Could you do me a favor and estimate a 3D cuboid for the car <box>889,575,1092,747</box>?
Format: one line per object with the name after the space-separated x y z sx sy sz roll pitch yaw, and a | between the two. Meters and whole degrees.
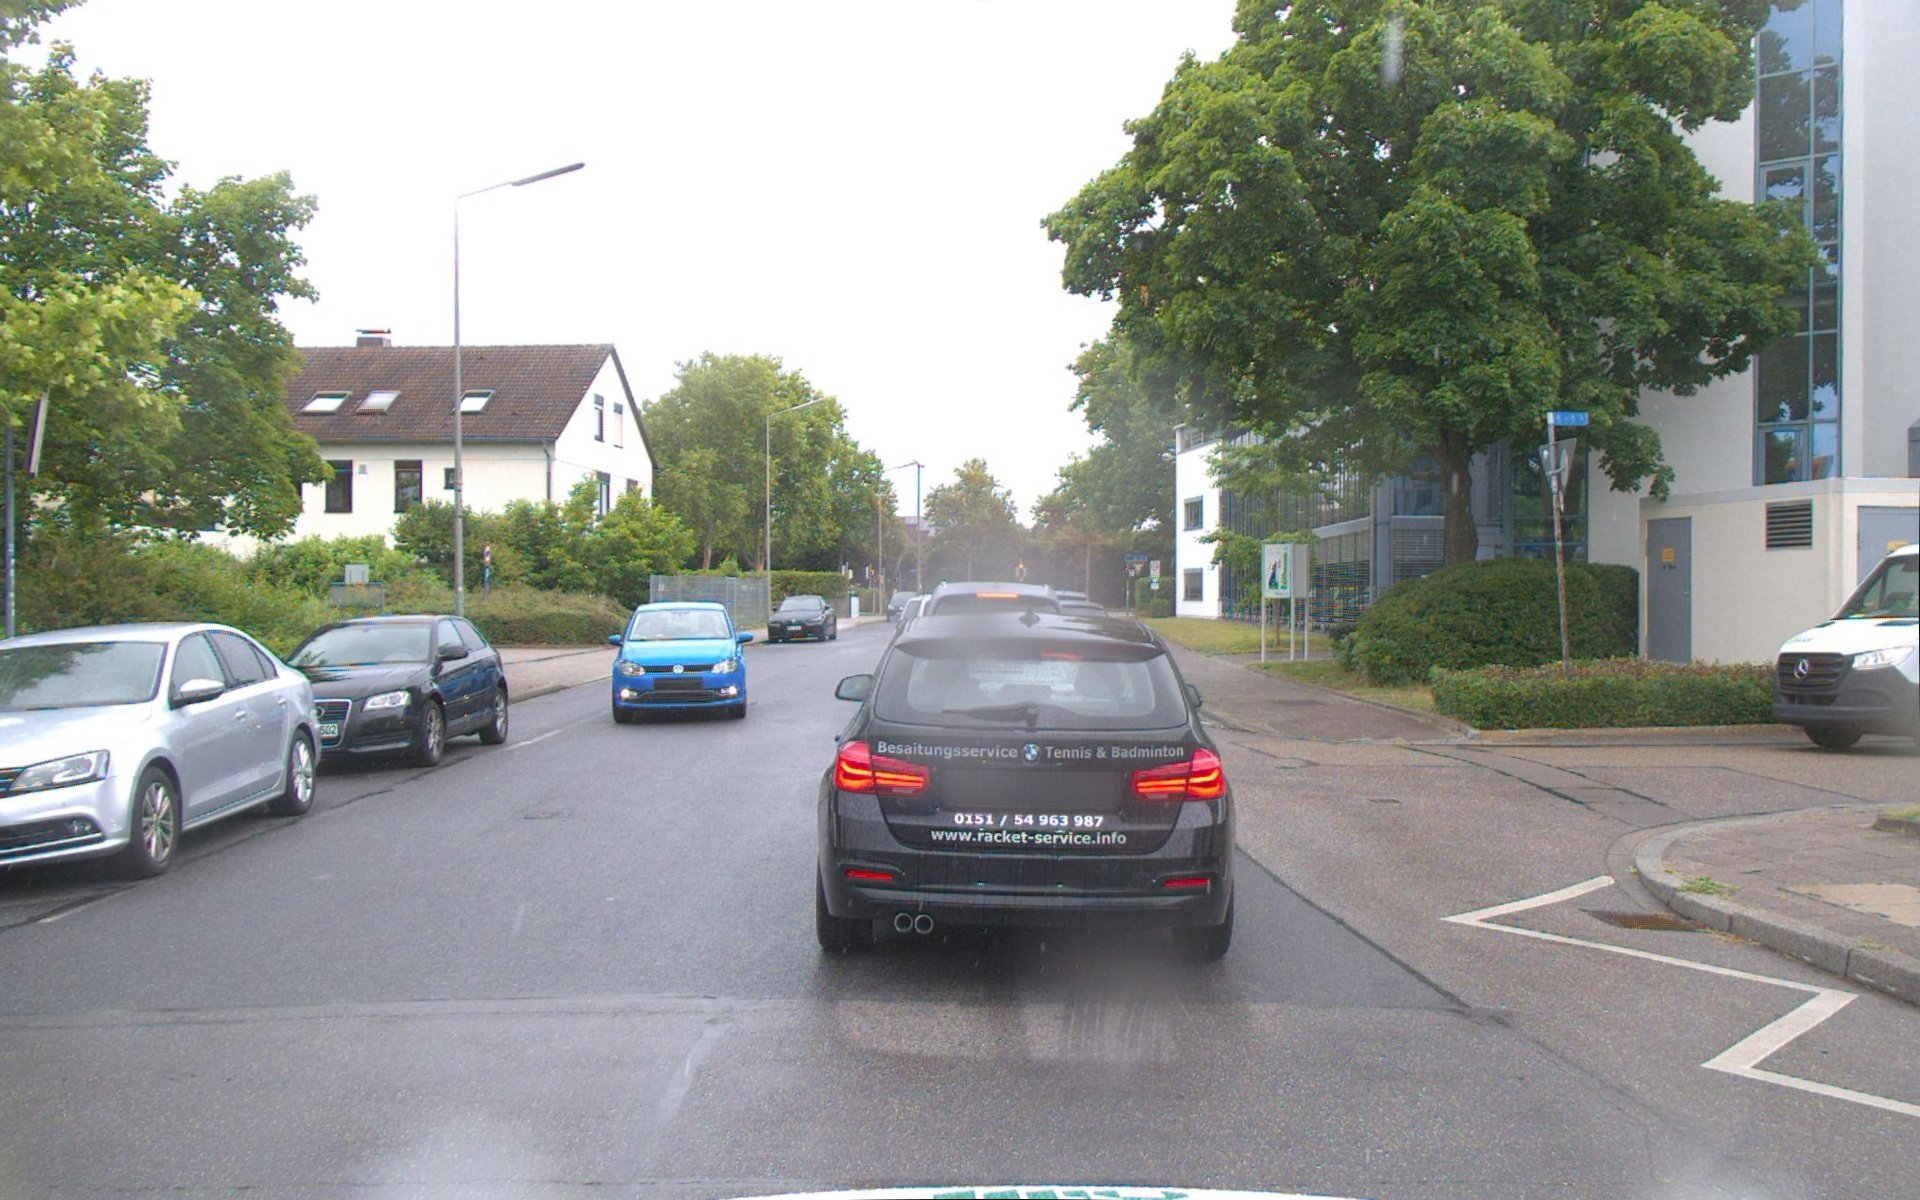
0.205 0.588 17.593 1.769 1.614 3.996 1 0 -5 | car

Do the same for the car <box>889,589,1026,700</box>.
-0.116 0.663 26.304 1.769 1.614 3.995 1 0 -6 | car

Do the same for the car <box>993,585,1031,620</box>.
2.459 0.118 78.708 1.767 1.614 4.001 0 0 1 | car

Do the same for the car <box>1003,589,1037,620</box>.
3.241 0.231 90.211 1.767 1.614 4.001 0 0 1 | car

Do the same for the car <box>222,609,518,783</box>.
-5.656 0.844 16.352 1.672 1.391 3.836 -2 1 -3 | car

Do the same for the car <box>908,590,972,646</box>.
-0.560 0.539 49.902 1.767 1.614 4.001 1 0 1 | car

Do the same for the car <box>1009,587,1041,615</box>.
3.786 0.024 96.898 1.767 1.614 4.001 0 0 1 | car

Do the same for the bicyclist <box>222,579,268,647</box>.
-16.481 0.292 38.116 0.928 1.543 0.609 0 0 -27 | bicyclist

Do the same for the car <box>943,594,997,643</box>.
0.373 0.614 57.041 1.767 1.614 4.001 1 0 1 | car

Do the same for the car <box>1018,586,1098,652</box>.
2.490 0.472 42.871 1.767 1.614 3.999 1 0 -1 | car

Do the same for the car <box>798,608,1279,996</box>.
0.255 0.760 8.118 1.768 1.419 3.999 1 0 -1 | car

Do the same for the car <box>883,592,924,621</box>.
-2.877 0.324 85.070 1.670 1.391 3.840 -2 1 4 | car

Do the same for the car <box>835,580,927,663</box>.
-1.584 0.425 34.486 1.767 1.614 3.999 1 0 -1 | car

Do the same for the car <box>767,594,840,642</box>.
-4.994 0.561 53.234 1.670 1.391 3.840 -2 1 4 | car

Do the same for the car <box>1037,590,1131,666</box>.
2.762 0.602 37.488 1.767 1.614 3.999 1 0 -1 | car

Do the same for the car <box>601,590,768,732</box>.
-3.521 0.717 21.744 1.672 1.622 3.836 -2 1 -3 | car

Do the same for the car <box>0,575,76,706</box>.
-13.452 0.485 20.538 3.910 1.567 1.908 0 0 -6 | car

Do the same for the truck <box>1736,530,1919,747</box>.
12.235 0.380 17.965 6.789 2.177 2.092 0 0 -5 | truck

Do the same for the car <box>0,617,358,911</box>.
-5.414 0.882 10.631 1.672 1.391 4.597 -2 1 -5 | car
